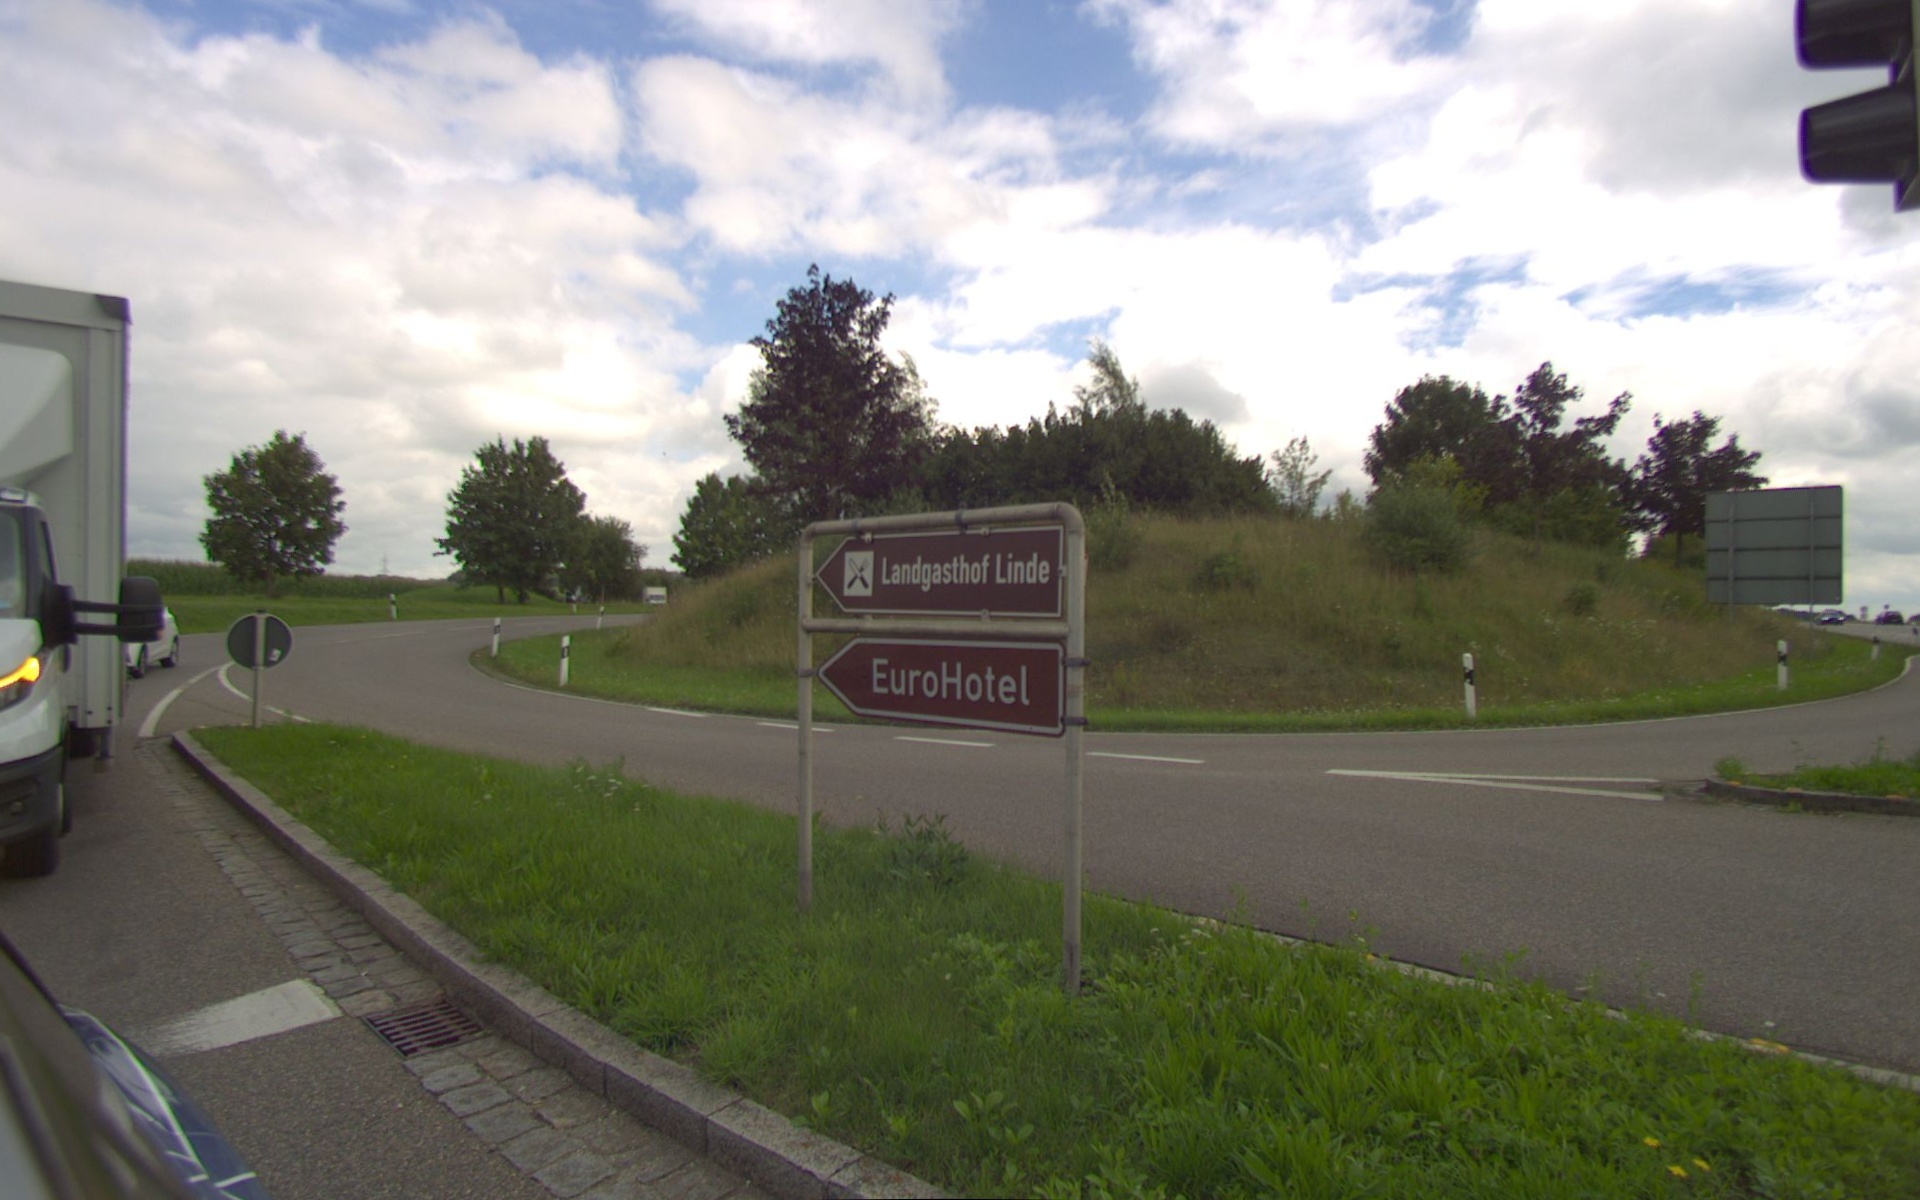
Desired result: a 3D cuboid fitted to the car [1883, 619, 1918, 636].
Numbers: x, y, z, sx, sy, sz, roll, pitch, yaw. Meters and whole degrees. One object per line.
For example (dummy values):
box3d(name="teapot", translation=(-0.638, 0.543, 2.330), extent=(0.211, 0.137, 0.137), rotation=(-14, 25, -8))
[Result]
box3d(name="car", translation=(95.418, 2.741, 102.757), extent=(1.843, 1.702, 3.956), rotation=(0, -1, 32))

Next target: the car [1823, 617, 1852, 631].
box3d(name="car", translation=(89.569, 2.415, 103.390), extent=(1.767, 1.394, 4.489), rotation=(-1, -2, 35))

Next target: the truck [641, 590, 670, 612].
box3d(name="truck", translation=(-35.192, 0.149, 116.663), extent=(2.252, 2.439, 6.403), rotation=(1, -1, -25))

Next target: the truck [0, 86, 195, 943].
box3d(name="truck", translation=(-7.765, -0.427, 7.232), extent=(2.796, 3.792, 8.810), rotation=(2, -1, -42))

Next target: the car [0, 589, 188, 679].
box3d(name="car", translation=(-15.810, 0.599, 18.716), extent=(1.779, 1.463, 4.013), rotation=(0, -1, -28))
